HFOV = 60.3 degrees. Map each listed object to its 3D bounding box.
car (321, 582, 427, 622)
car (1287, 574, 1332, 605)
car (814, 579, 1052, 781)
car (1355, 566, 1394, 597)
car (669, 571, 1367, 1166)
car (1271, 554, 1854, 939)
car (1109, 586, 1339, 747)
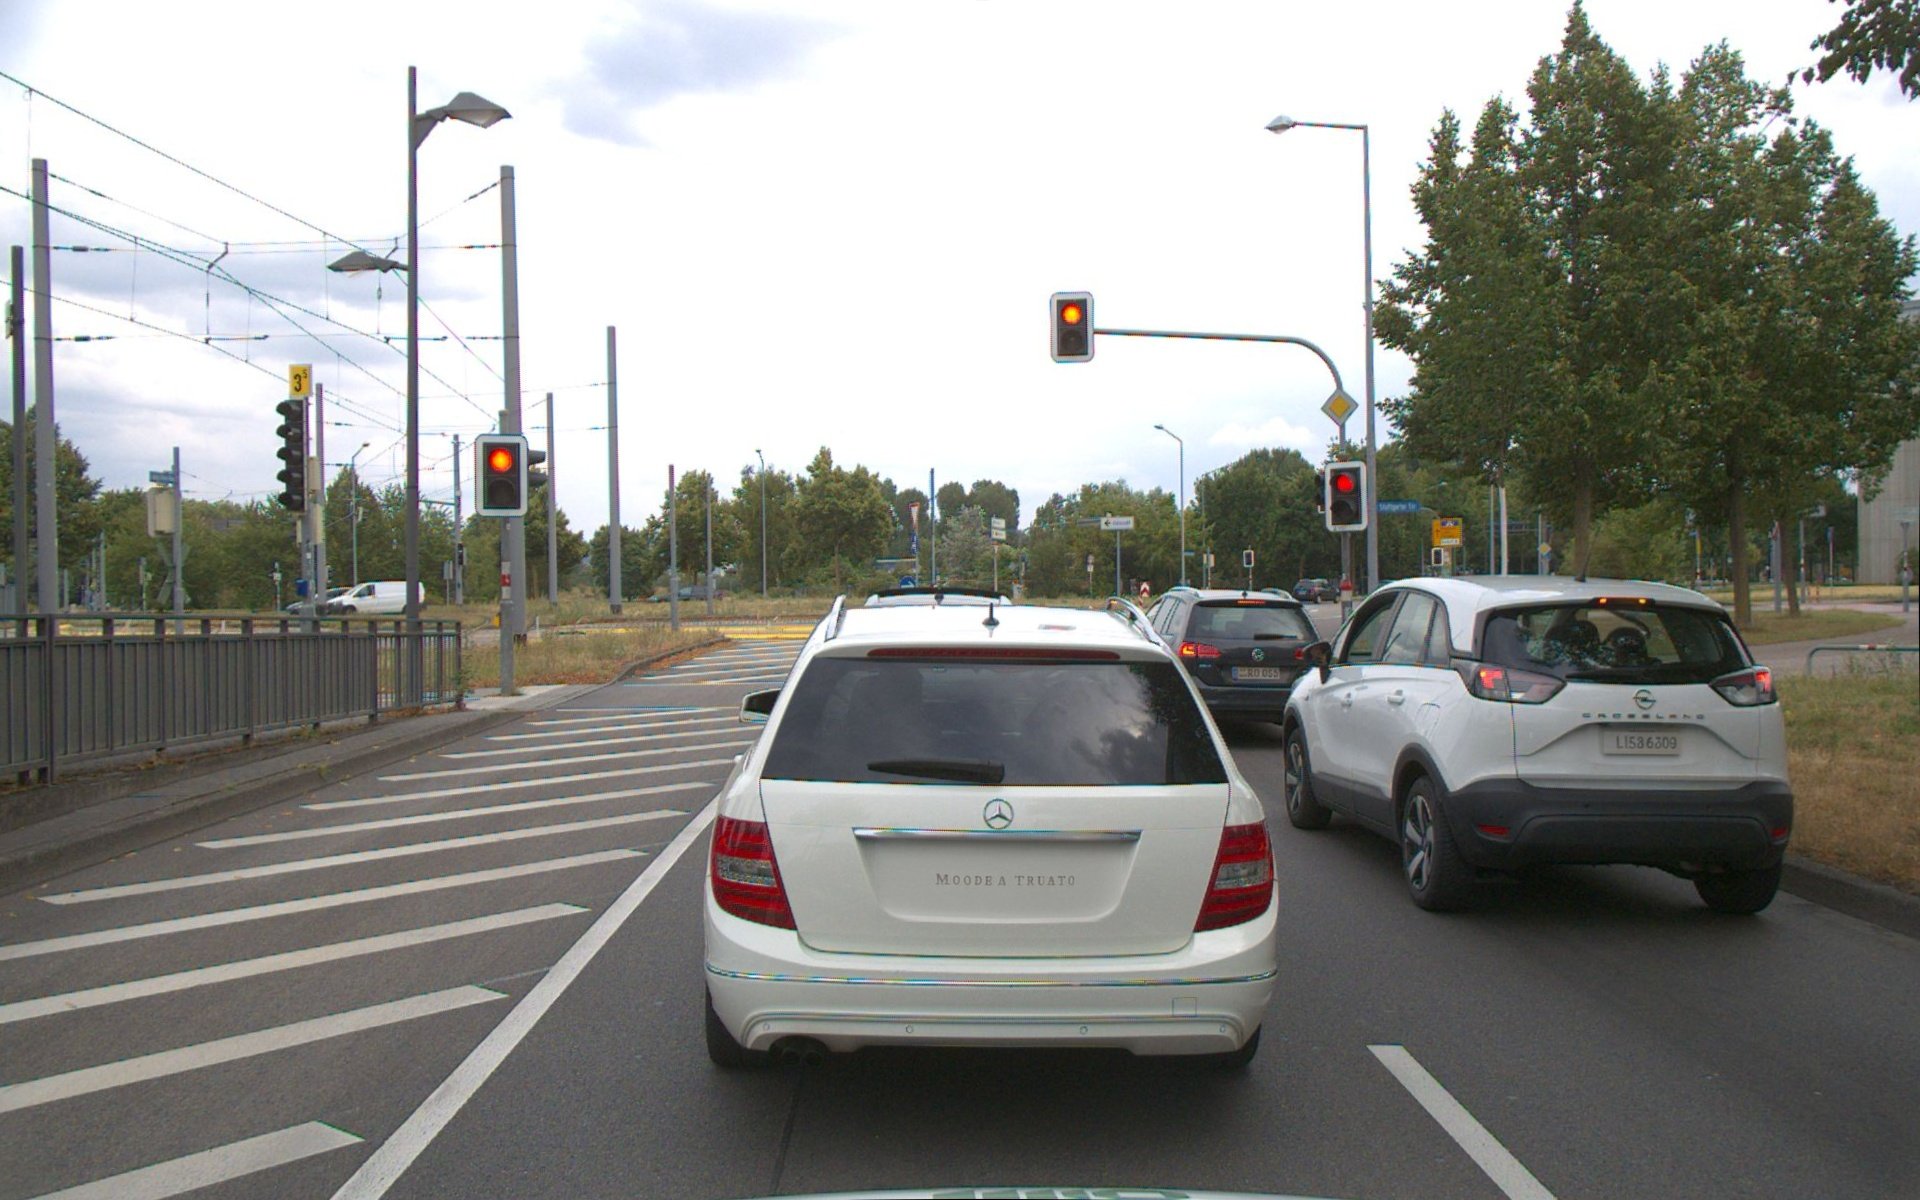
[{"bbox_3d":[-30.981,0.078,87.460,4.945,2.049,1.974,-1,1,-36],"label":"car"},{"bbox_3d":[21.847,-0.651,103.148,1.953,1.822,3.998,2,0,23],"label":"car"},{"bbox_3d":[-0.286,0.577,14.158,1.738,1.474,3.908,1,0,-3],"label":"car"},{"bbox_3d":[23.704,-1.064,94.677,1.745,1.664,4.406,-1,1,9],"label":"car"},{"bbox_3d":[0.066,0.655,6.091,1.738,1.474,3.908,1,0,-3],"label":"car"},{"bbox_3d":[2.999,0.617,9.167,1.751,1.653,3.910,-1,1,-1],"label":"car"},{"bbox_3d":[2.615,0.597,17.195,1.592,1.474,3.908,1,0,-3],"label":"car"}]
